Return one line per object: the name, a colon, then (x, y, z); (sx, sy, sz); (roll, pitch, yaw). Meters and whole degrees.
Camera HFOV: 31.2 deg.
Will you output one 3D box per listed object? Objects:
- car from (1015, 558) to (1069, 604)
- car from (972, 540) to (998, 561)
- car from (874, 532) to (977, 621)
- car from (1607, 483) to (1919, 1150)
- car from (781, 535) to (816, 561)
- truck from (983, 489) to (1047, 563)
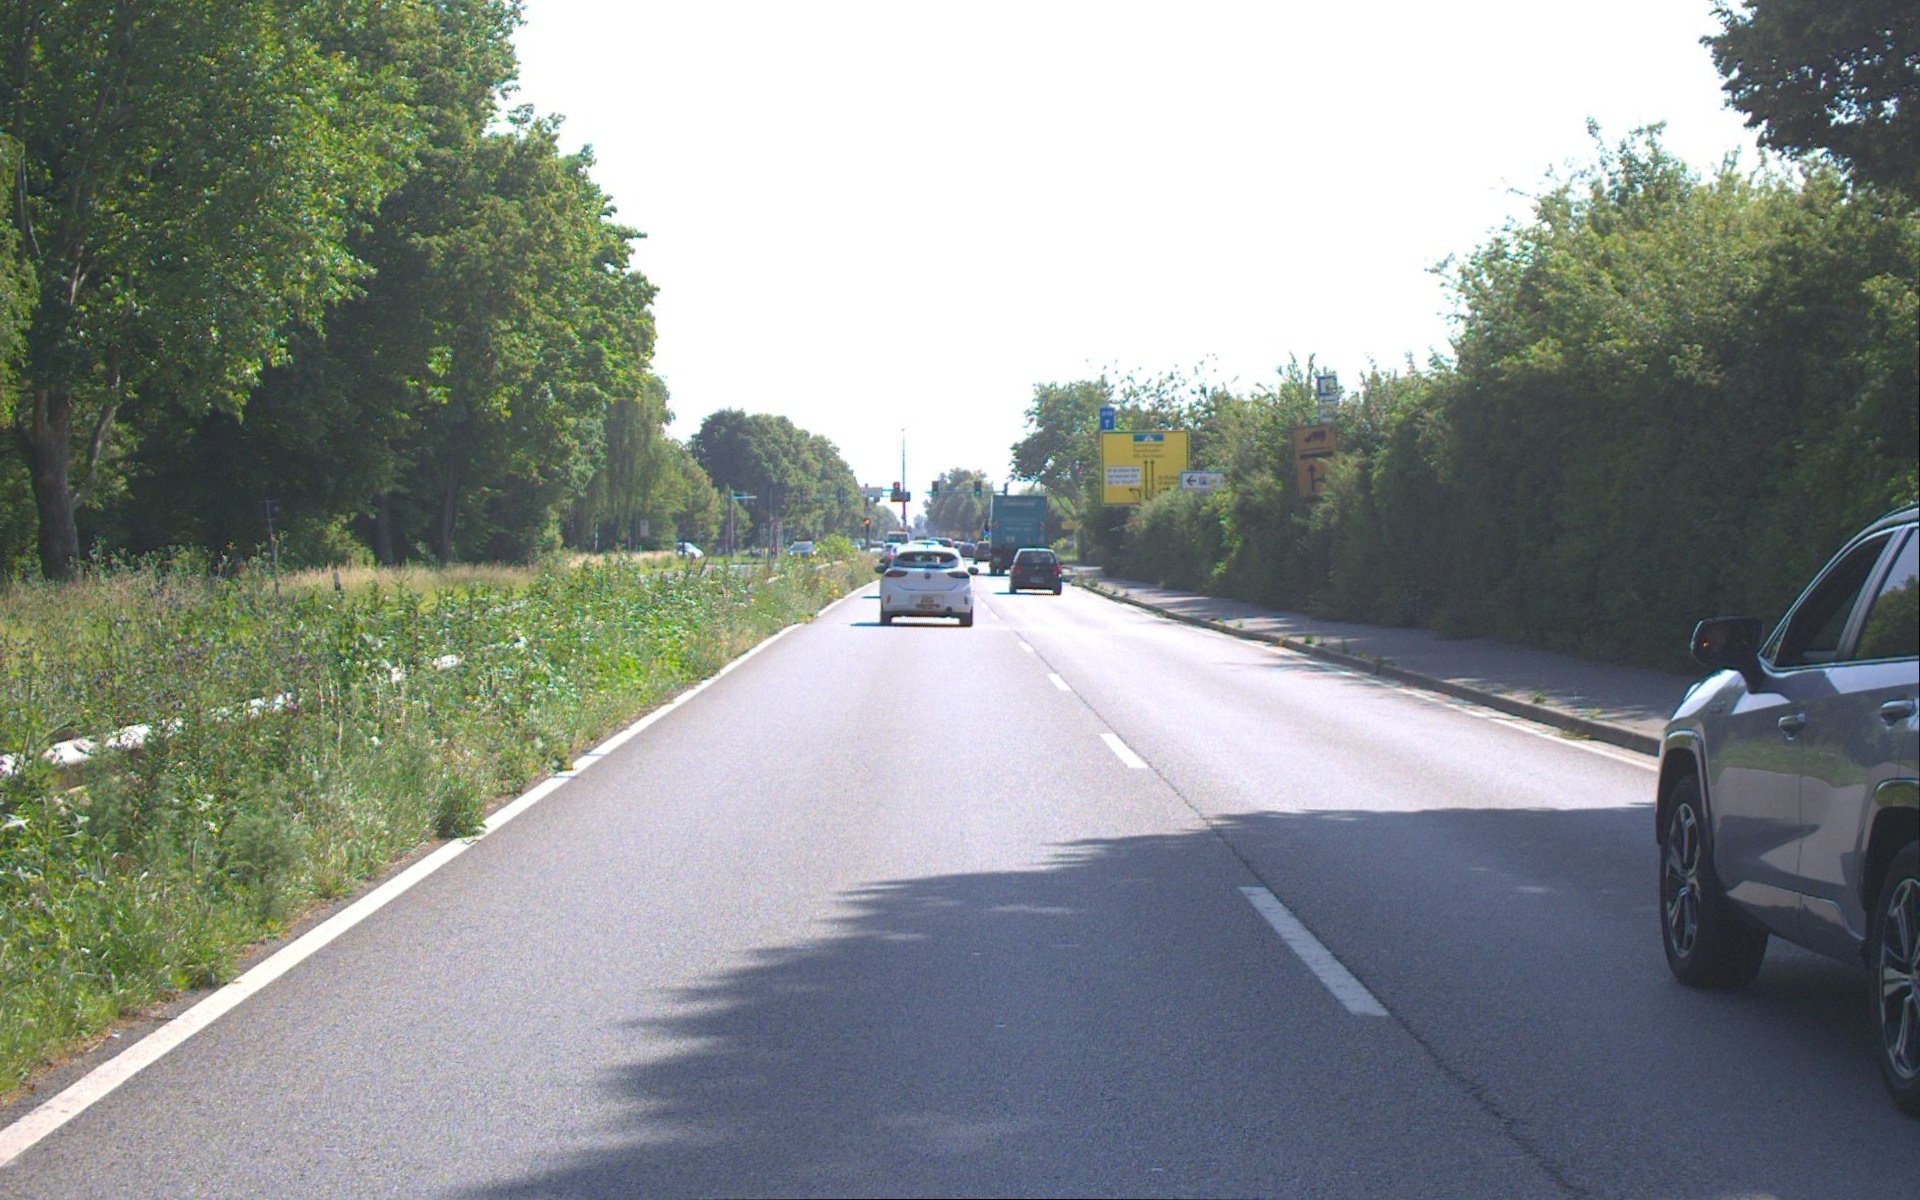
car: (2.551, -0.592, 107.556); (1.572, 1.410, 3.277); (1, 0, 0)
car: (1.834, -3.635, 253.399); (1.812, 1.459, 4.459); (-1, 0, 2)
car: (-0.616, -0.465, 63.571); (1.799, 1.547, 4.000); (1, 1, 0)
car: (3.365, 0.541, 10.244); (1.902, 1.674, 4.684); (2, 1, 0)
car: (-9.868, -3.200, 210.503); (1.779, 1.525, 4.161); (-1, 1, 2)
truck: (2.579, -3.531, 164.648); (2.891, 3.417, 9.169); (0, 1, 0)
